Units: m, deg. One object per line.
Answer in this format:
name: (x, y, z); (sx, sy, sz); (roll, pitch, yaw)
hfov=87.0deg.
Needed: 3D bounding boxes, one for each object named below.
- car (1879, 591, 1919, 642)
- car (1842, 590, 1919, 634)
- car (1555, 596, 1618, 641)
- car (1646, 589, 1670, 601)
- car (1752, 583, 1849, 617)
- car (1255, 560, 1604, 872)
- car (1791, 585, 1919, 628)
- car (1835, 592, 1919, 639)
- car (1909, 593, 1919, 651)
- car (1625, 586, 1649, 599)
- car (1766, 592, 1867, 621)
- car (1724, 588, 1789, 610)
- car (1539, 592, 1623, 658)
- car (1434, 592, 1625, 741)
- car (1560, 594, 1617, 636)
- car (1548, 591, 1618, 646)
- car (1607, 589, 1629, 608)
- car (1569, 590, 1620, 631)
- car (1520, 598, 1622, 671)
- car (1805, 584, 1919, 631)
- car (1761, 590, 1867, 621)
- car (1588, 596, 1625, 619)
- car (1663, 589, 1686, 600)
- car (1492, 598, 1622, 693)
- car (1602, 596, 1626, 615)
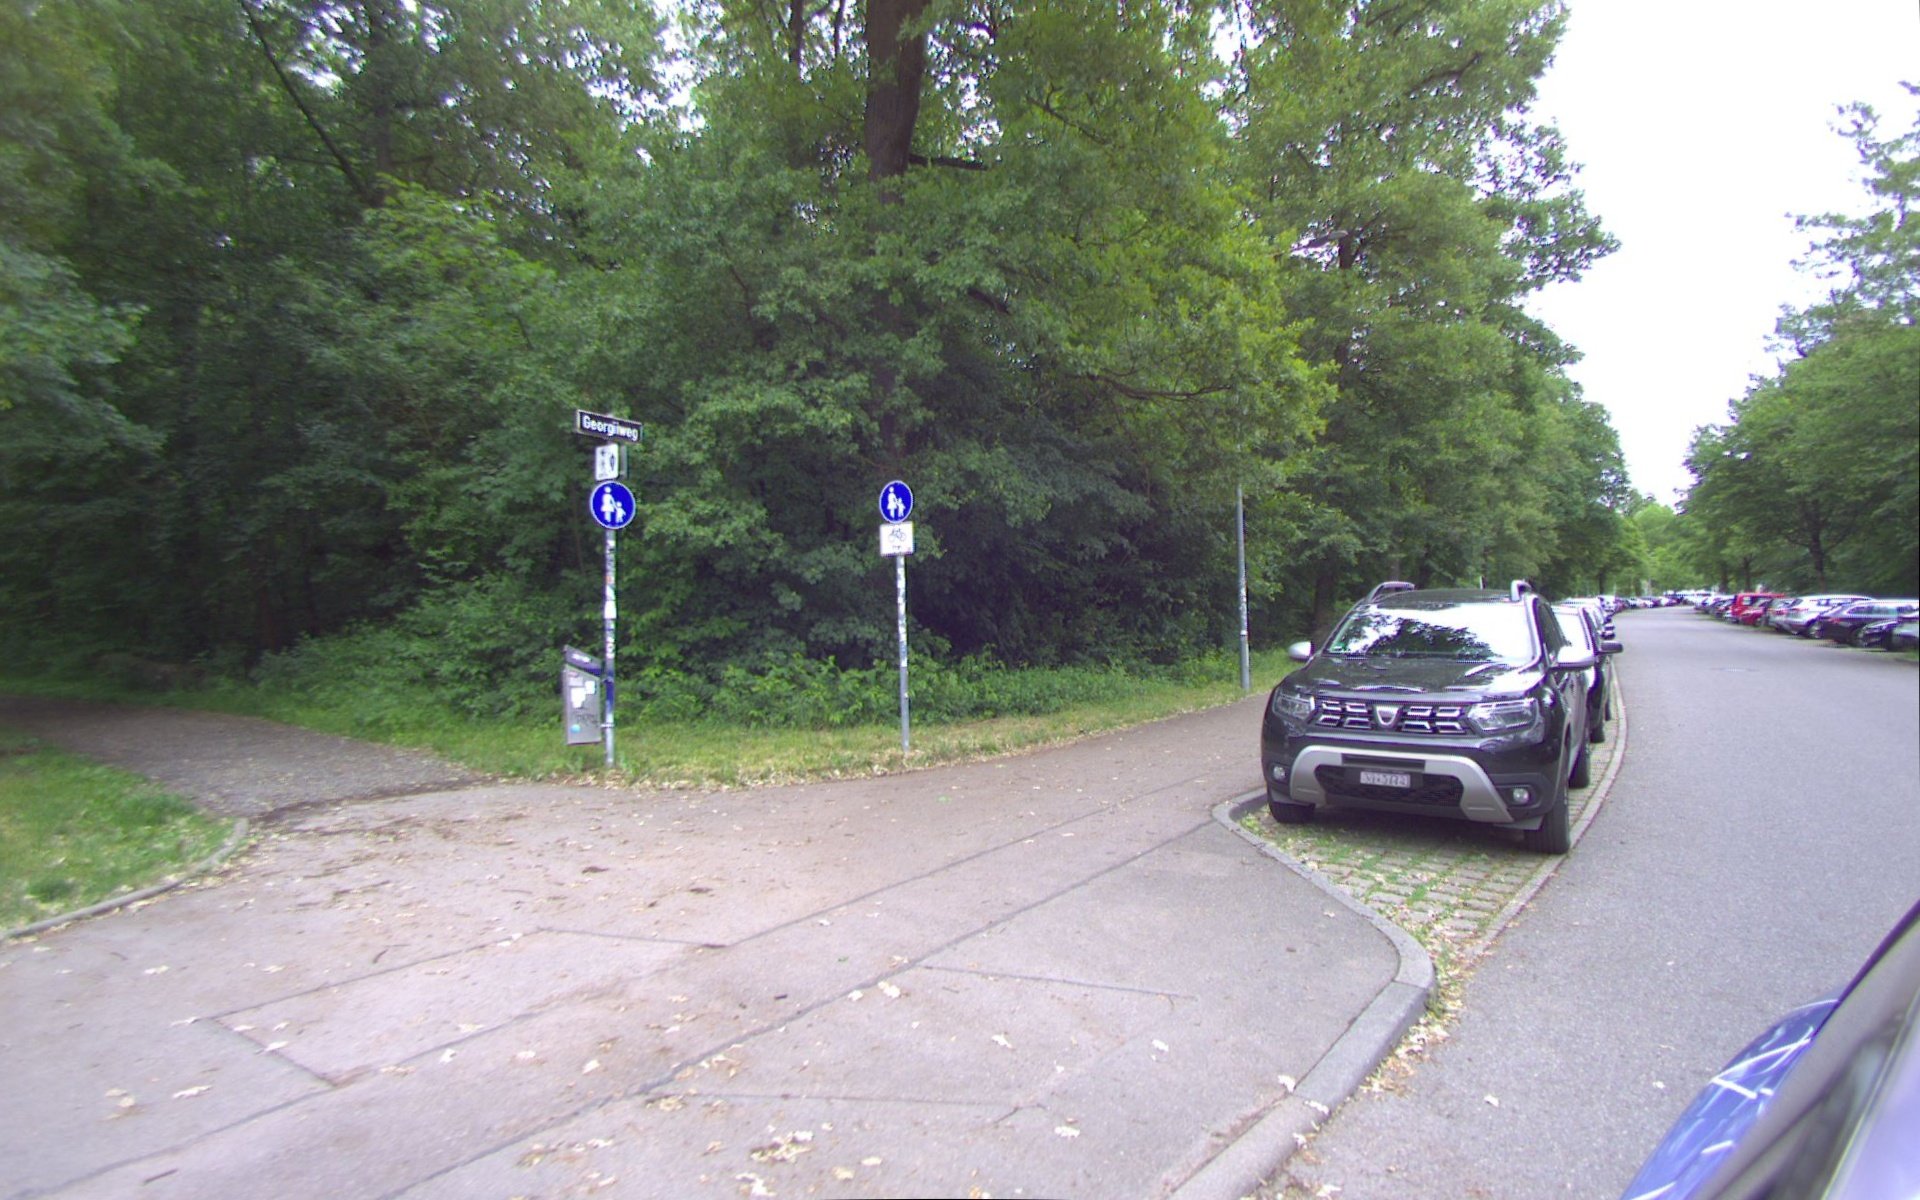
car: (29.143, 0.465, 28.984); (3.975, 1.454, 1.655); (-1, -1, 37)
car: (31.979, 0.397, 33.538); (3.975, 1.454, 1.627); (-1, -1, 36)
car: (21.640, 0.618, 34.963); (1.728, 1.443, 4.107); (-1, 0, 32)
car: (91.290, -0.597, 132.299); (3.822, 1.333, 1.770); (3, -3, -42)
car: (46.654, 0.002, 56.277); (3.972, 1.838, 1.796); (0, 0, 34)
car: (3.778, 0.614, 7.663); (1.730, 1.654, 4.322); (-1, 0, 34)
car: (37.151, 0.275, 41.974); (3.974, 1.683, 1.791); (-1, -1, 35)
car: (30.305, 0.464, 31.878); (3.975, 1.454, 1.655); (-1, -1, 37)
car: (26.350, 0.520, 24.973); (3.972, 1.486, 1.694); (-1, -1, 34)
car: (79.807, -0.899, 119.217); (3.603, 1.498, 1.500); (-1, -1, -42)
car: (45.935, 0.332, 54.389); (3.973, 1.535, 1.795); (0, 0, 35)
car: (65.089, -0.096, 82.760); (3.968, 1.749, 1.694); (-1, -1, 32)
car: (16.579, 0.603, 26.951); (1.729, 1.609, 4.330); (-1, 0, 33)
car: (7.189, 0.681, 12.565); (1.730, 1.514, 4.182); (-1, 0, 34)
car: (24.013, 0.542, 38.686); (1.728, 1.493, 4.552); (-1, 0, 32)
car: (19.394, 0.549, 31.506); (1.728, 1.588, 3.962); (-1, 0, 32)
car: (61.959, -0.138, 95.277); (1.632, 1.774, 4.005); (-1, -1, 34)
car: (27.338, 0.444, 43.625); (1.728, 1.664, 5.014); (-1, 0, 32)
car: (13.713, 0.694, 22.597); (1.730, 1.450, 4.447); (-1, 0, 34)
car: (34.473, 0.278, 38.020); (3.970, 1.683, 1.793); (-1, -1, 33)
car: (43.970, 0.306, 52.195); (3.973, 1.535, 1.749); (-1, -1, 35)
car: (51.913, 0.563, 81.254); (1.902, 1.745, 4.420); (-1, -1, 40)
car: (97.450, -0.772, 138.023); (3.824, 1.332, 1.770); (-2, 0, -42)
car: (10.737, 0.712, 18.041); (1.730, 1.450, 4.447); (-1, 0, 34)
car: (58.508, 0.467, 90.502); (1.572, 1.641, 3.911); (-2, -1, 36)
